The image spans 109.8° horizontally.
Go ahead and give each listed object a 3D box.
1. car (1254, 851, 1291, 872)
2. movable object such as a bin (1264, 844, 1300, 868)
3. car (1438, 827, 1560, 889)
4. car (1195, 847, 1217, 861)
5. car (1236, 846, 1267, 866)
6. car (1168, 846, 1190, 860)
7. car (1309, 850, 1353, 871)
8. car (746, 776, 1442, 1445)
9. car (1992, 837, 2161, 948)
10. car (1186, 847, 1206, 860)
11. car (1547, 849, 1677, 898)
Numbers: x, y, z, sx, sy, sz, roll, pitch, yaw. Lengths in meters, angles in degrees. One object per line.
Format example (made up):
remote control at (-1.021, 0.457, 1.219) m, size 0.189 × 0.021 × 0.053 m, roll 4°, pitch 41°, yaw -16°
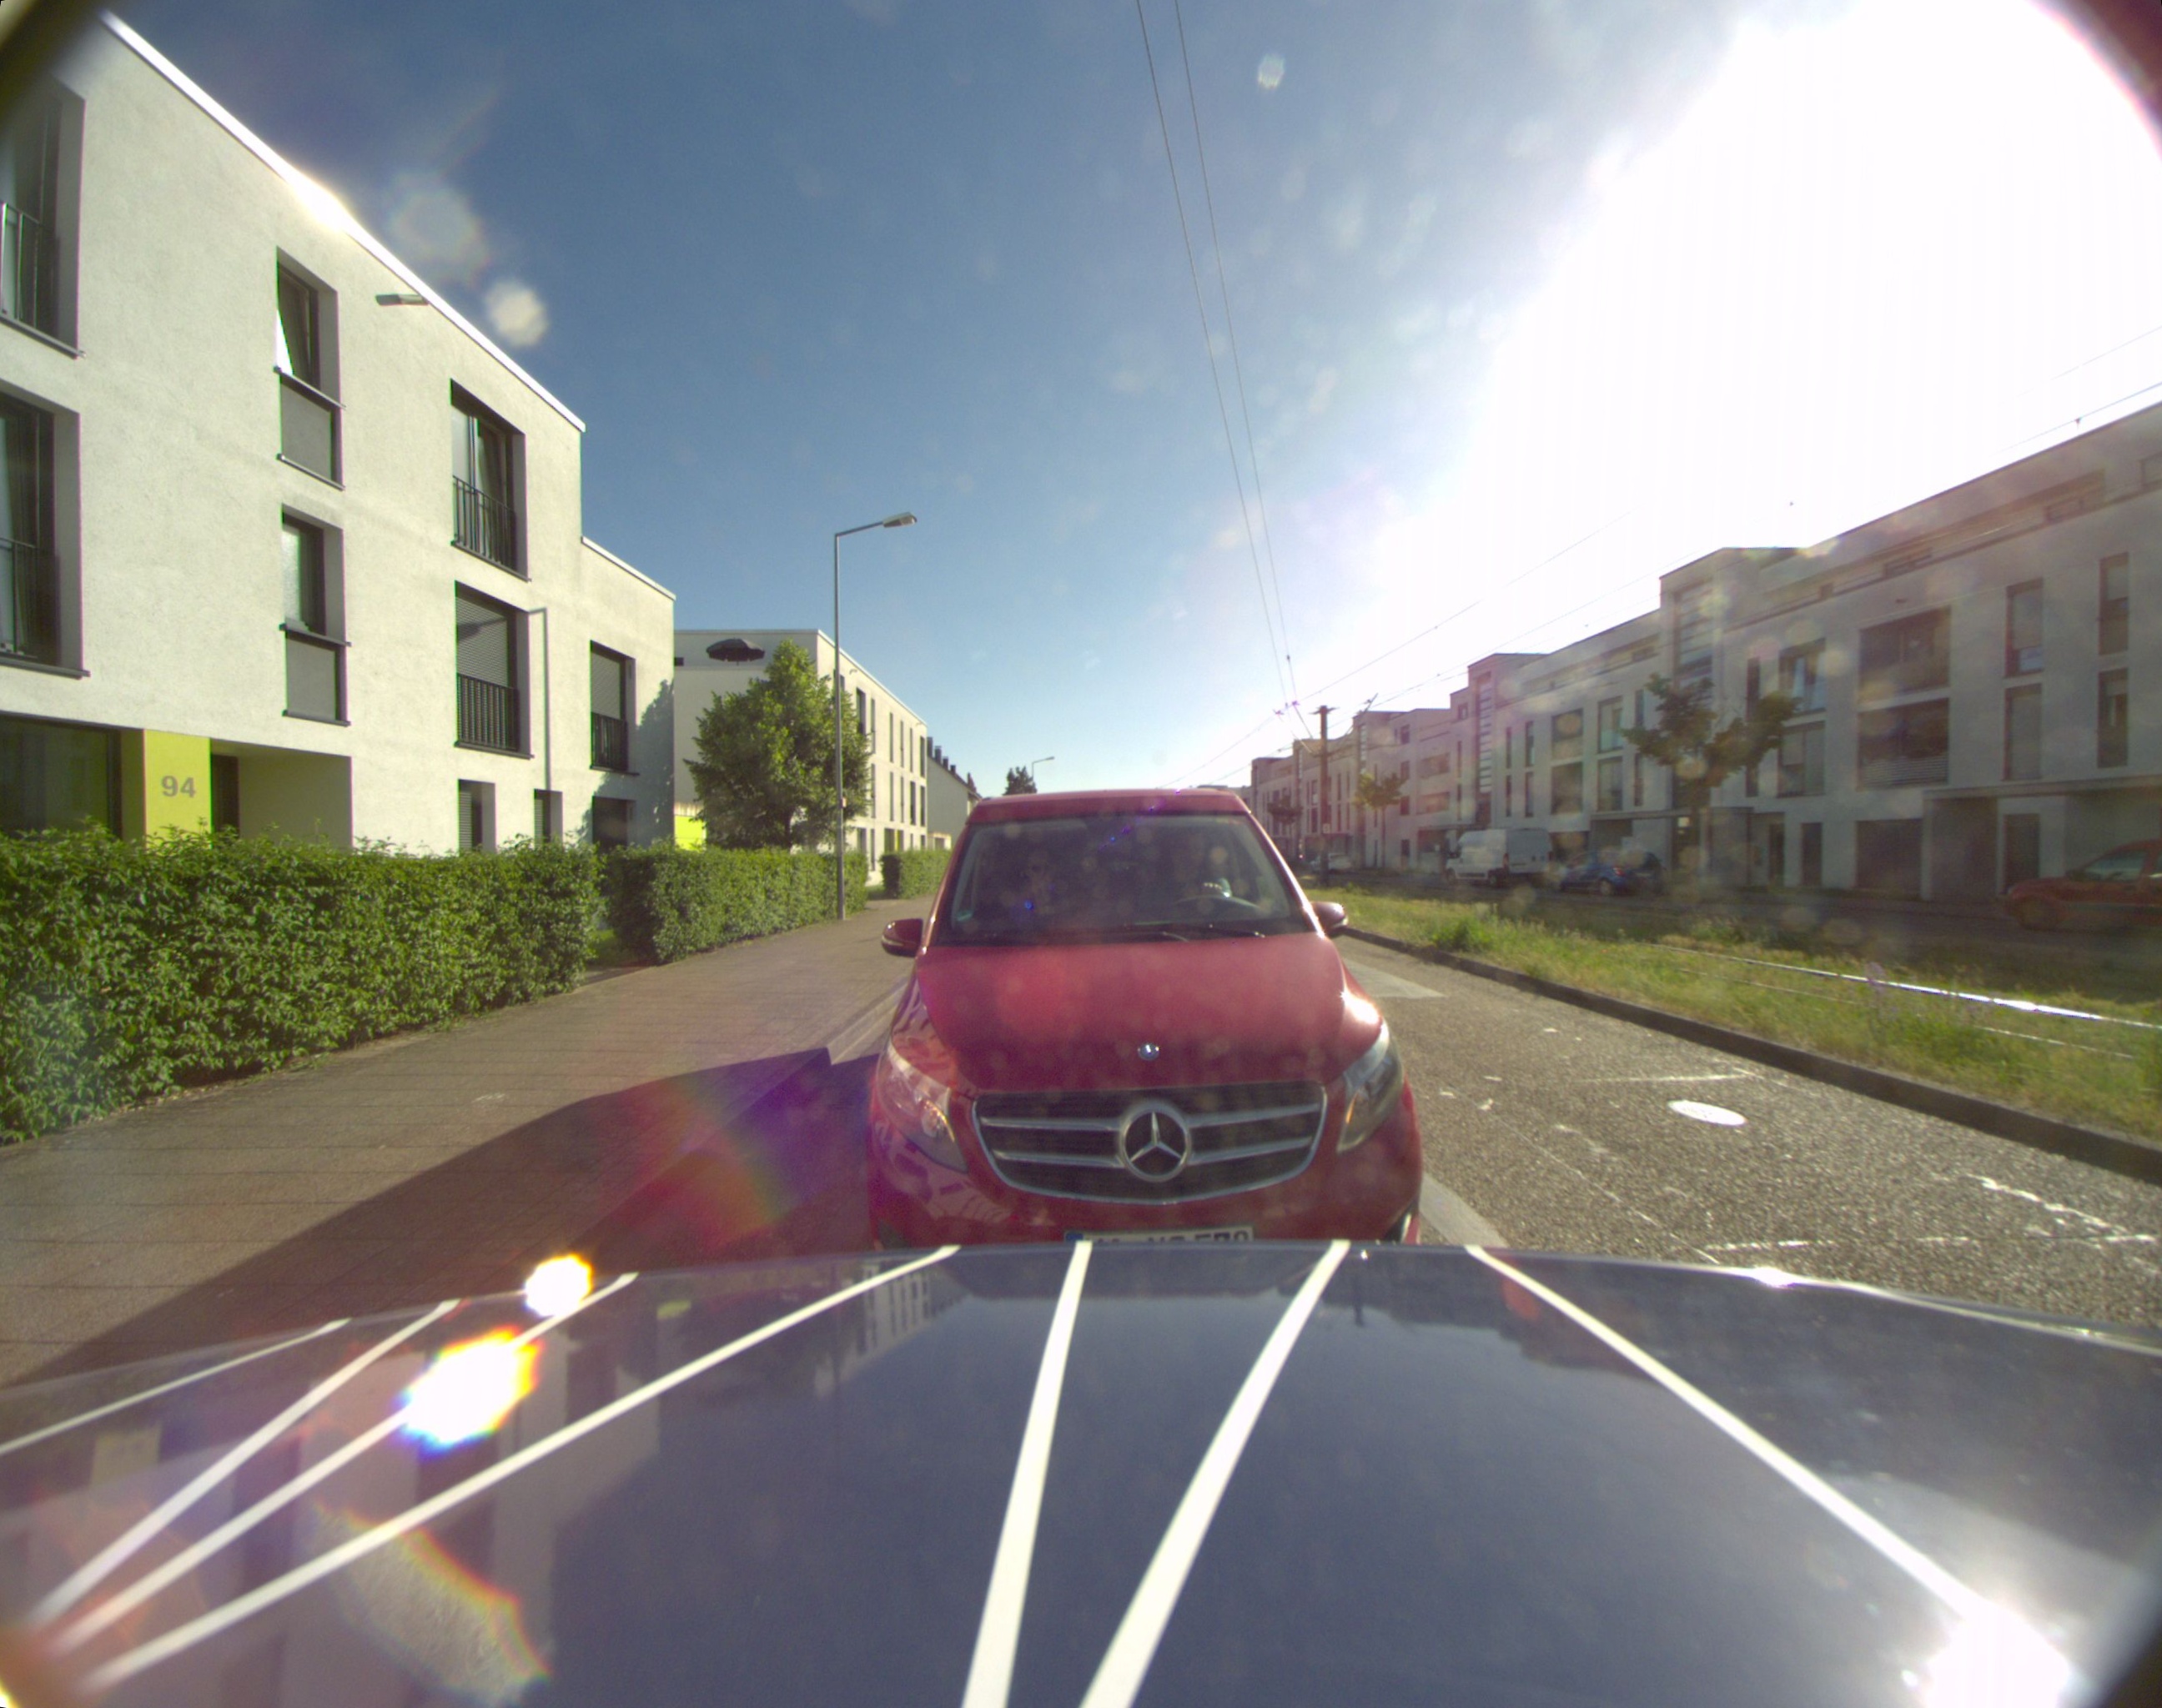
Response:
car at (14.237, 0.526, 56.558) m, size 1.792 × 1.410 × 4.000 m, roll 1°, pitch 0°, yaw 1°
movable object such as a bin at (17.426, 0.166, 66.119) m, size 1.766 × 1.926 × 4.155 m, roll -2°, pitch 0°, yaw -4°
car at (18.148, 0.143, 33.385) m, size 2.146 × 2.430 × 5.588 m, roll -2°, pitch 0°, yaw -1°
car at (15.416, -0.024, 93.947) m, size 1.766 × 1.590 × 4.155 m, roll -2°, pitch 0°, yaw -4°
car at (16.638, 0.195, 74.255) m, size 1.766 × 1.859 × 4.155 m, roll -2°, pitch 0°, yaw -4°
car at (12.333, -0.152, 95.534) m, size 1.999 × 1.586 × 4.645 m, roll 2°, pitch 0°, yaw -2°
car at (17.610, 0.428, 53.746) m, size 1.521 × 1.424 × 4.155 m, roll -2°, pitch 0°, yaw -4°
car at (0.098, 0.760, 4.845) m, size 1.979 × 1.922 × 5.205 m, roll -2°, pitch 0°, yaw 1°
car at (18.594, 0.619, 12.813) m, size 1.885 × 1.785 × 3.837 m, roll -2°, pitch 0°, yaw 1°
car at (15.028, -0.024, 99.582) m, size 1.766 × 1.590 × 4.155 m, roll -2°, pitch 0°, yaw -4°
car at (18.290, 0.616, 26.411) m, size 1.829 × 1.528 × 3.842 m, roll -2°, pitch 0°, yaw 0°
